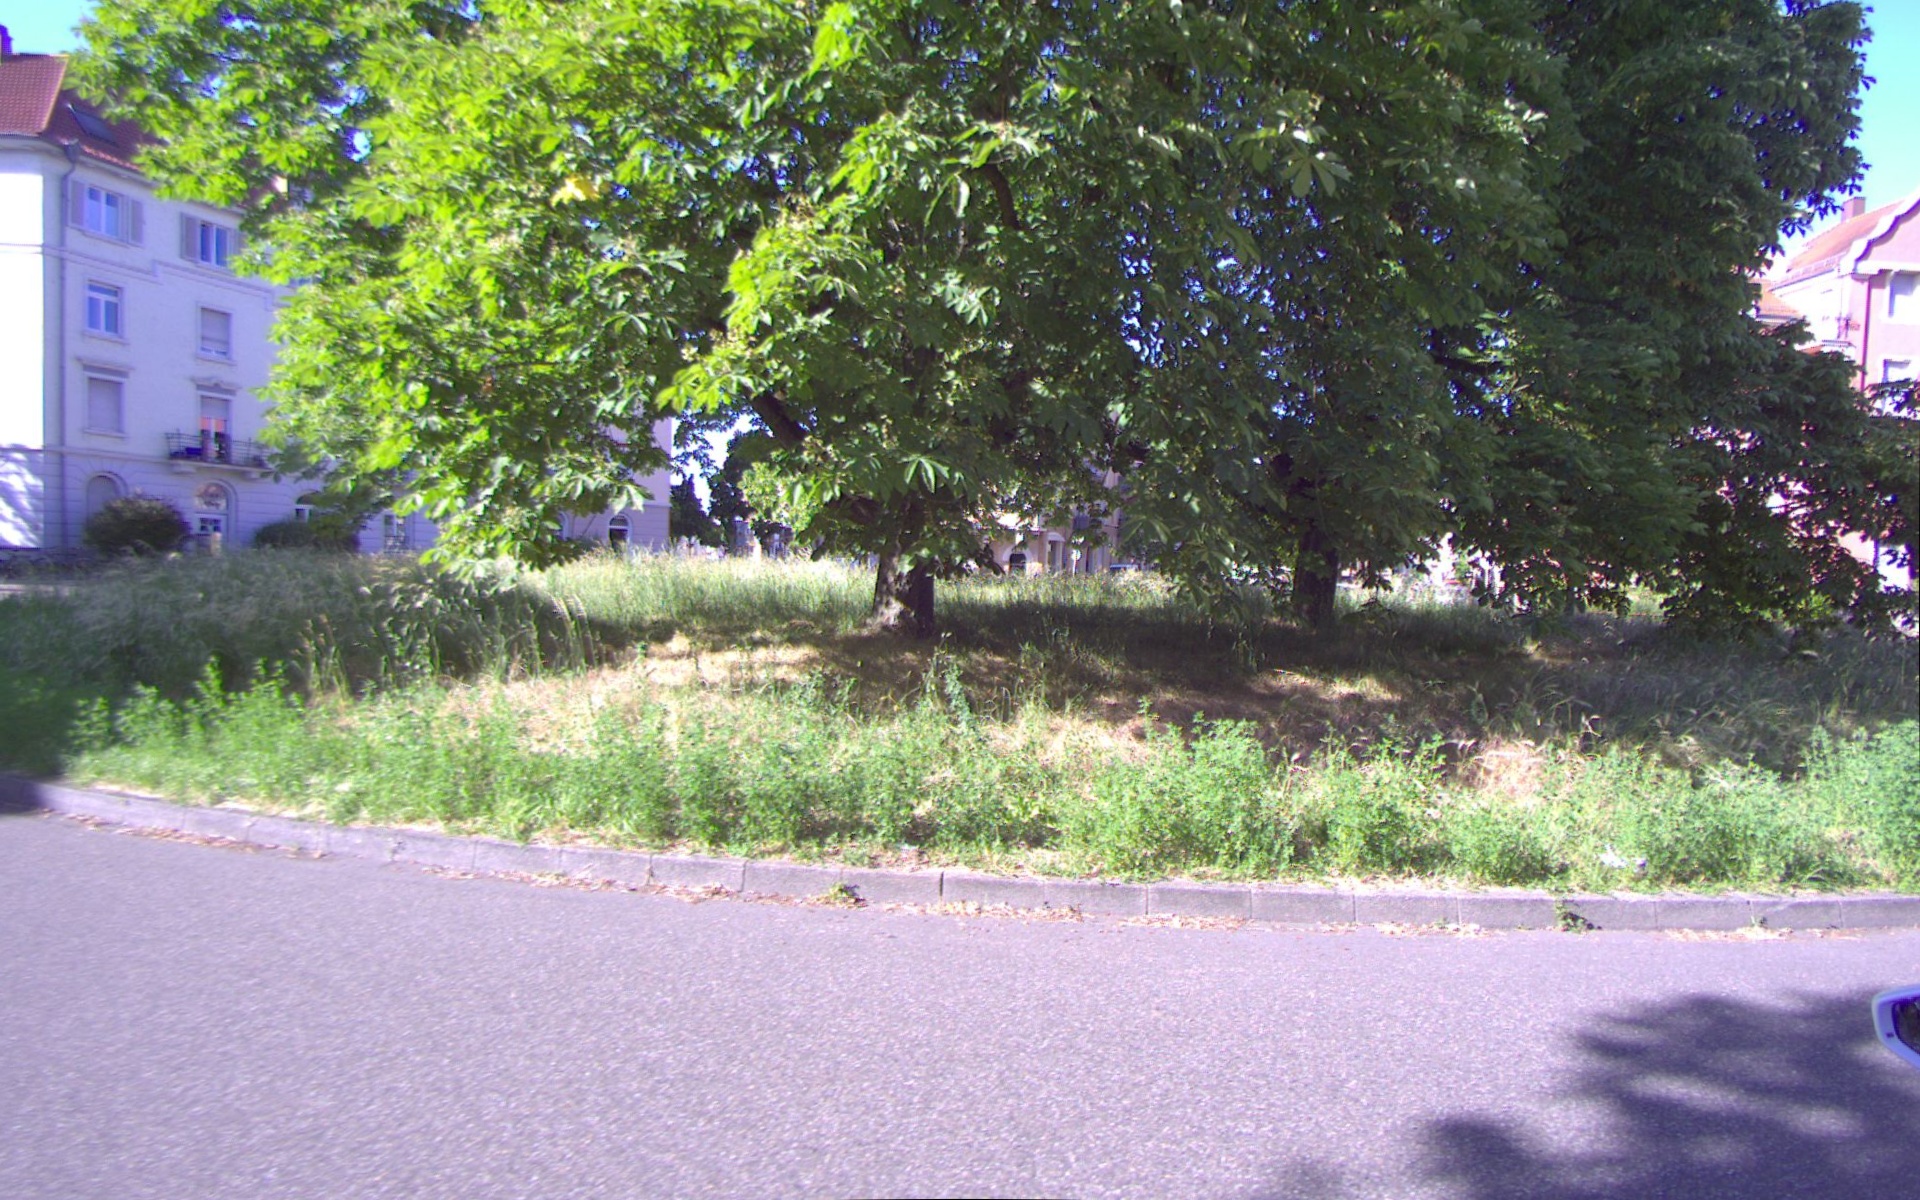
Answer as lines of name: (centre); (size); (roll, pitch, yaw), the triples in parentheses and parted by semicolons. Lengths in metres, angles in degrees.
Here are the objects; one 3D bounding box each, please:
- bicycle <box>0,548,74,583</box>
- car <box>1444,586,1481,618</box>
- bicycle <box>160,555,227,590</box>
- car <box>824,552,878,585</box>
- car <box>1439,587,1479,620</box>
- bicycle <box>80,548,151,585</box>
bicycle: (-30.505, -1.136, 33.243); (1.786, 1.122, 0.494); (0, 2, -42)
car: (27.349, 0.079, 54.768); (1.656, 1.583, 4.290); (4, 2, 26)
bicycle: (-27.297, -0.986, 35.799); (0.561, 1.139, 1.795); (3, 0, 33)
car: (-7.013, -2.007, 64.242); (2.112, 1.935, 4.534); (1, 1, -24)
car: (24.920, 0.150, 50.243); (1.656, 1.466, 3.542); (4, 2, 26)
bicycle: (-28.700, -1.118, 34.167); (1.788, 1.139, 0.563); (3, 0, -45)
